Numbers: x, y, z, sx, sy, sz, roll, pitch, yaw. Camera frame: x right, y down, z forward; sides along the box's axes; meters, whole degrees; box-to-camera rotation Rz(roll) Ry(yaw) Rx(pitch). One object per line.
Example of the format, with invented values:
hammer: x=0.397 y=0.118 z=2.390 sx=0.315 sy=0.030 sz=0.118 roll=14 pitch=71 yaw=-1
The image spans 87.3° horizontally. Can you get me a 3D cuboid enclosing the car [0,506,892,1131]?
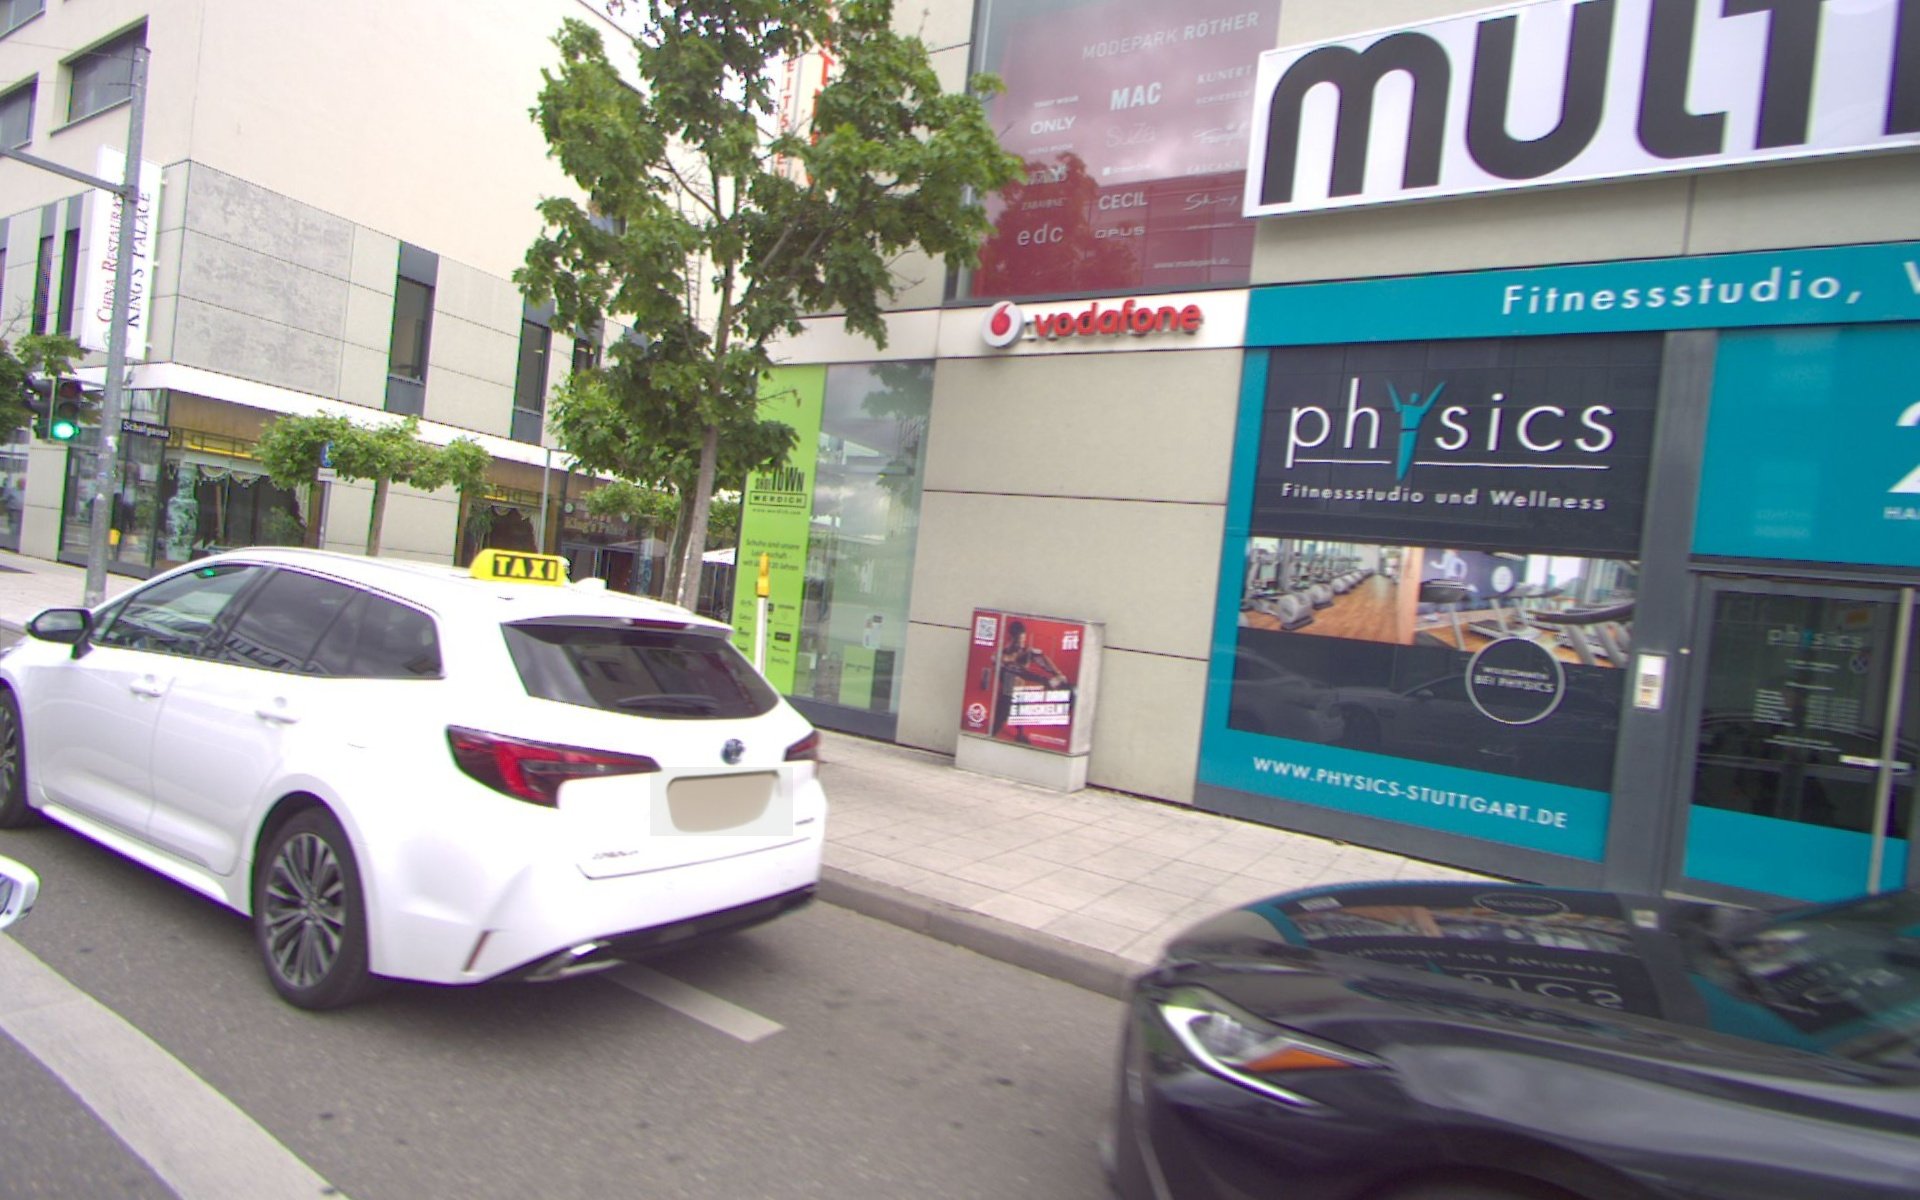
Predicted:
car: x=-2.700 y=0.510 z=4.501 sx=4.439 sy=1.443 sz=1.785 roll=6 pitch=-1 yaw=31

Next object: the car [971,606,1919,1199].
car: x=2.518 y=1.094 z=1.679 sx=4.711 sy=1.560 sz=1.740 roll=6 pitch=-2 yaw=31
